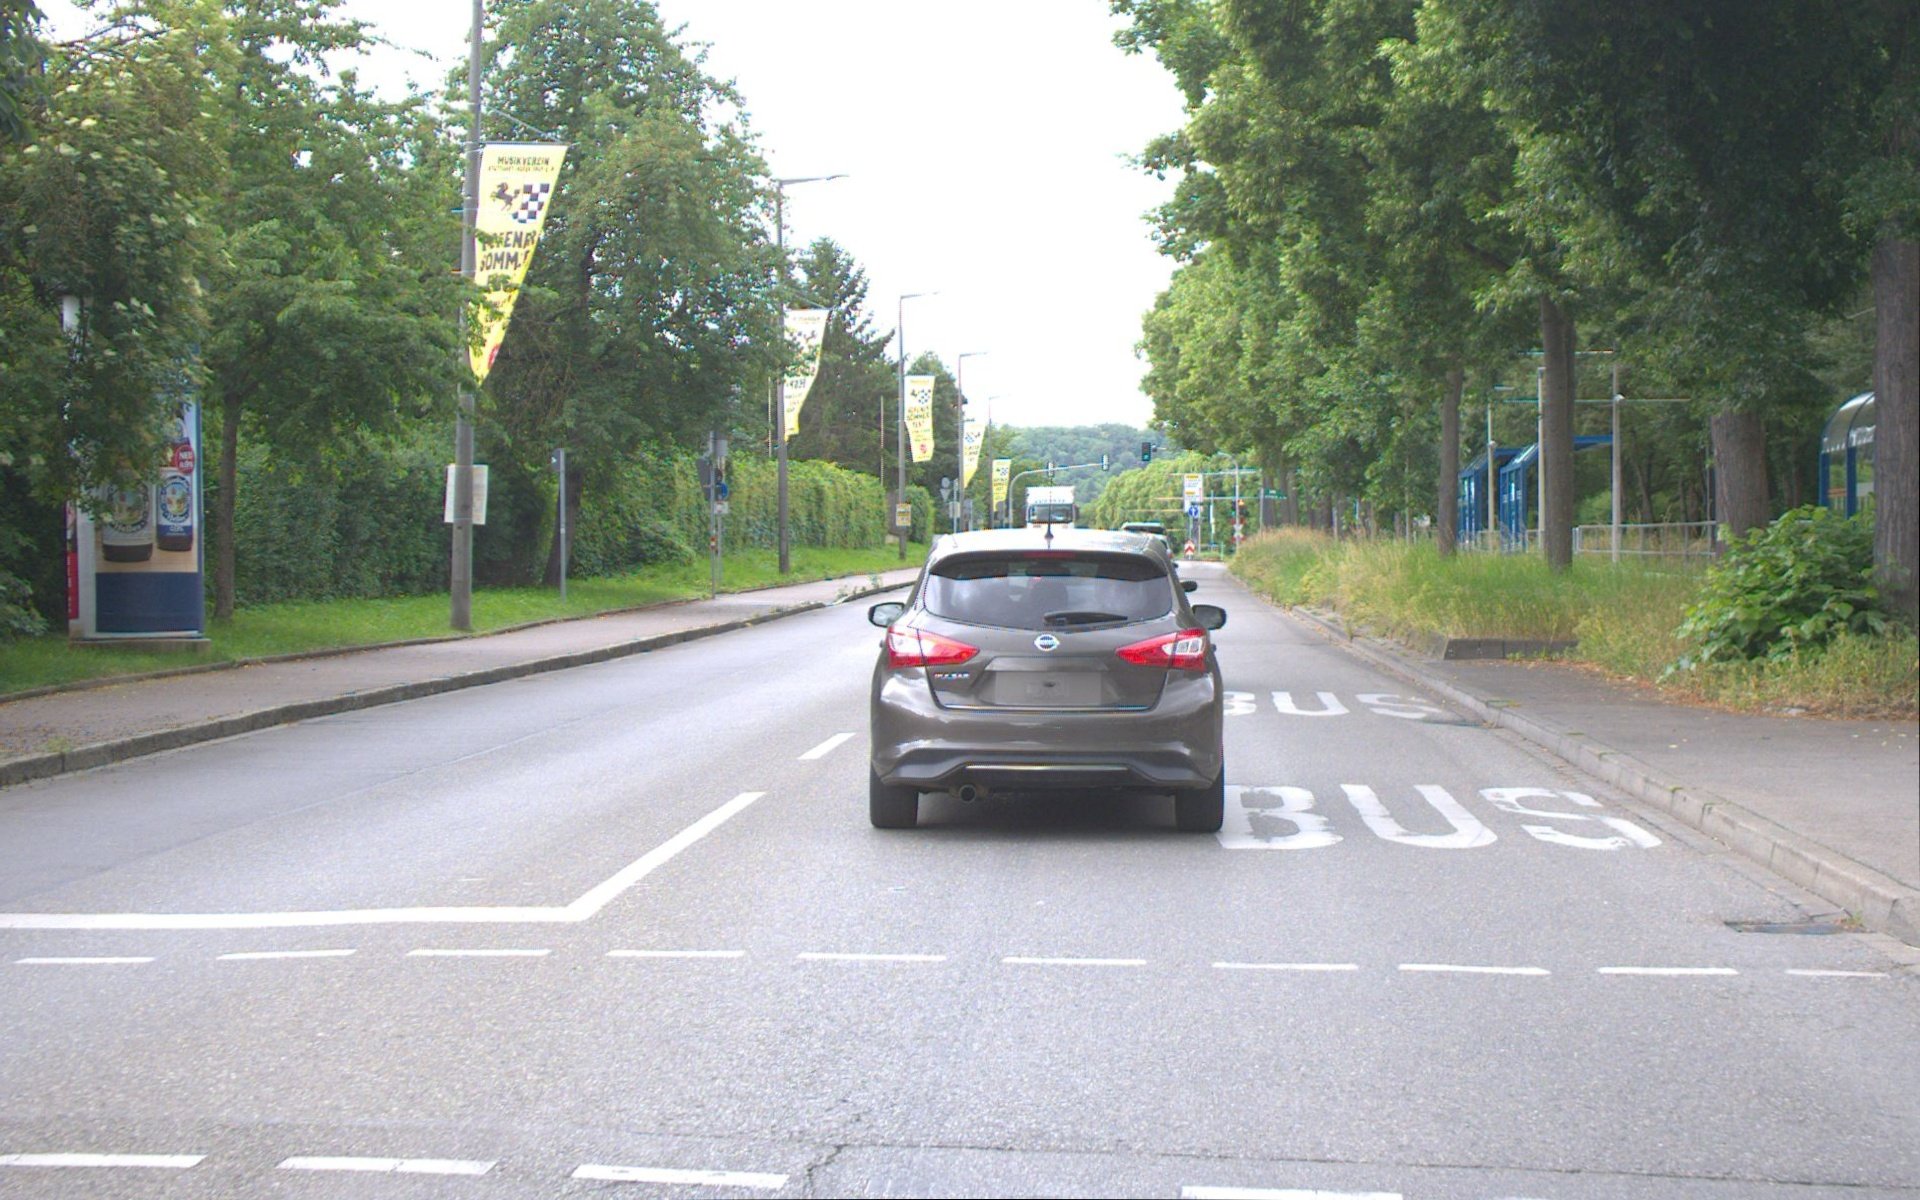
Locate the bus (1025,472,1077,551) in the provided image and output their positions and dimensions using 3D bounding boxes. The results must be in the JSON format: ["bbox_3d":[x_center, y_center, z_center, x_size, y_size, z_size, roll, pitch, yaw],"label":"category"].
[{"bbox_3d":[4.846,-4.637,181.683,2.488,4.012,10.216,0,1,3],"label":"bus"}]

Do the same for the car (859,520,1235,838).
[{"bbox_3d":[0.523,0.359,18.213,1.784,1.502,3.695,0,0,3],"label":"car"}]

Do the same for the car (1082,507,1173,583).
[{"bbox_3d":[3.256,-1.064,66.808,1.692,1.436,3.541,1,1,3],"label":"car"}]

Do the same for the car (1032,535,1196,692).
[{"bbox_3d":[1.515,0.103,33.652,1.502,1.436,3.541,1,1,3],"label":"car"}]

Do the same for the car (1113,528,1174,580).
[{"bbox_3d":[5.230,-1.299,97.990,1.692,1.436,3.541,1,1,3],"label":"car"}]
